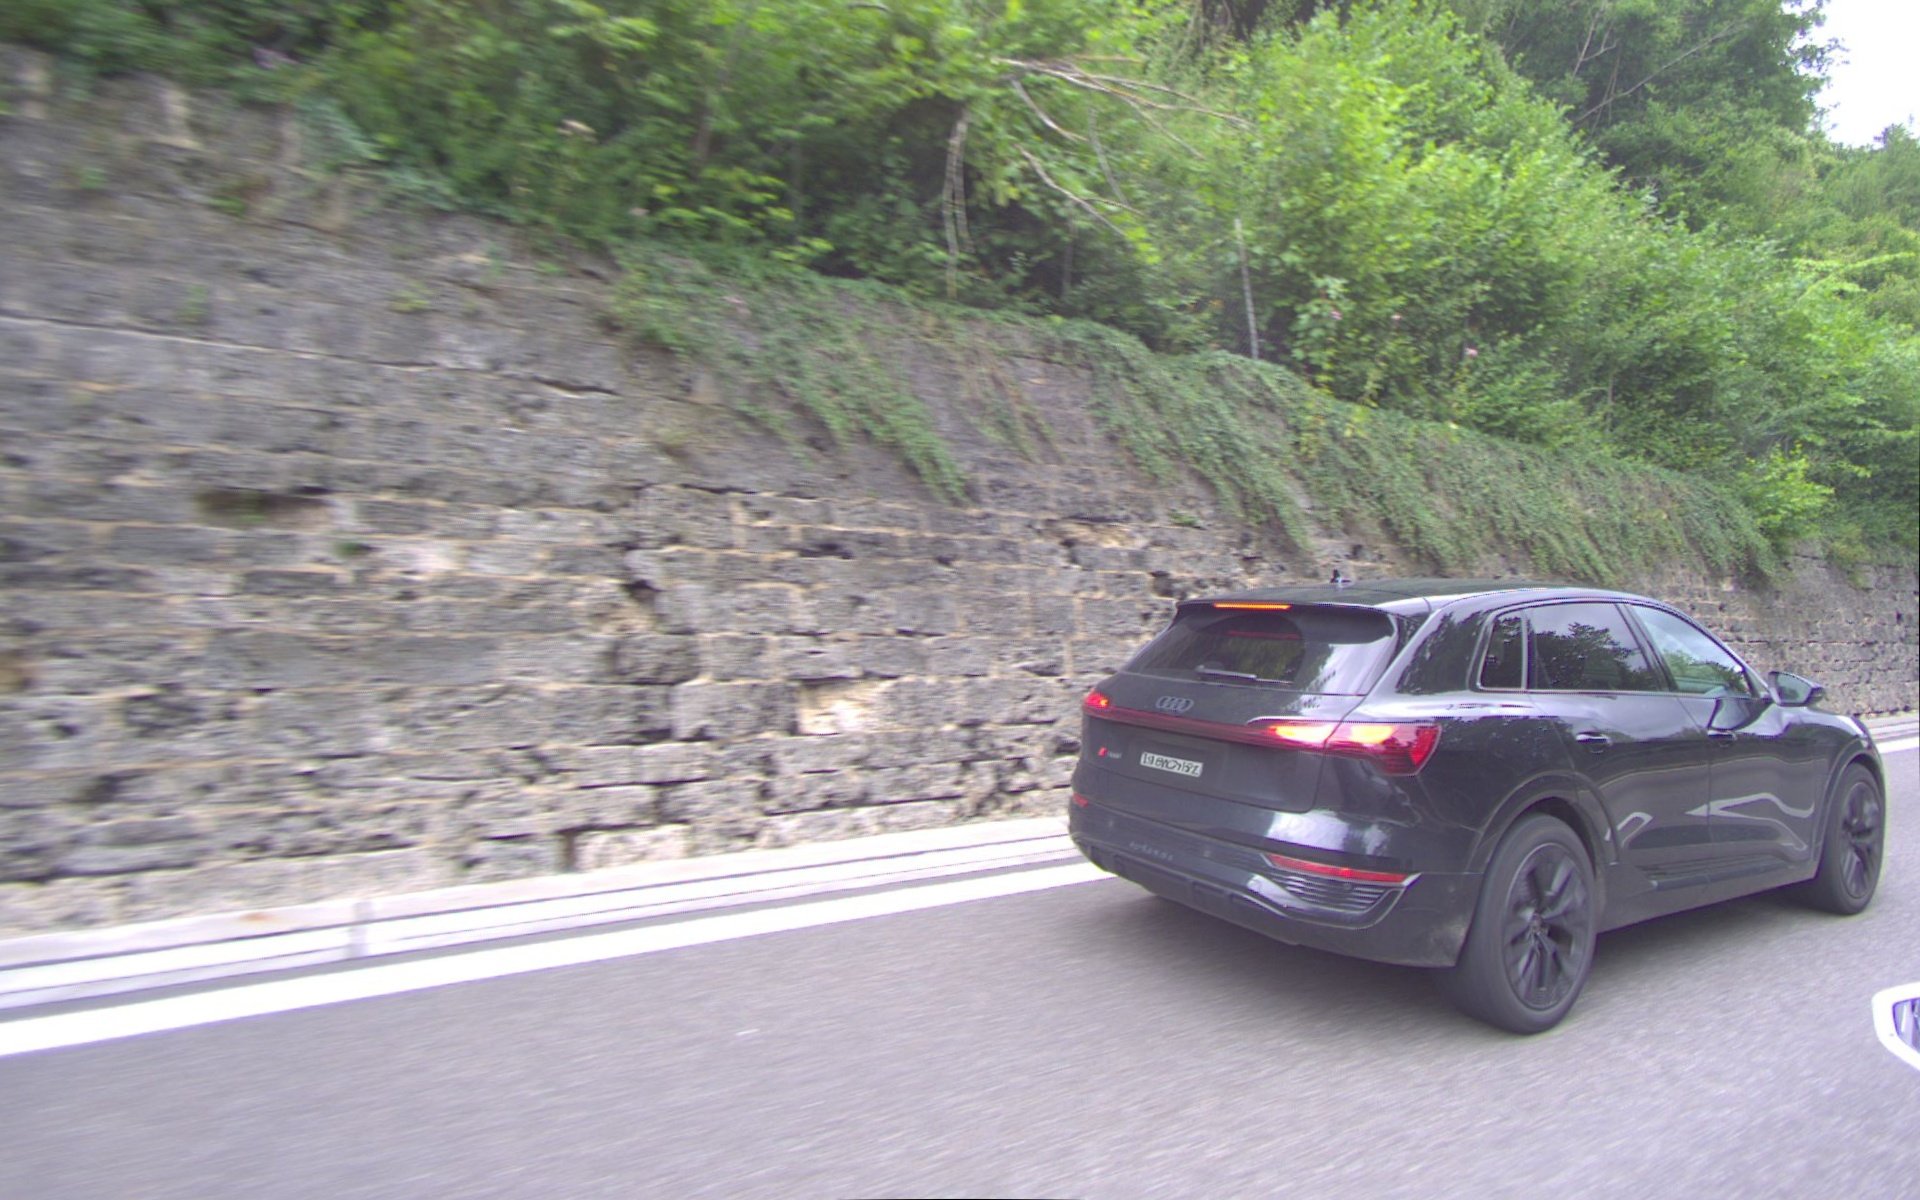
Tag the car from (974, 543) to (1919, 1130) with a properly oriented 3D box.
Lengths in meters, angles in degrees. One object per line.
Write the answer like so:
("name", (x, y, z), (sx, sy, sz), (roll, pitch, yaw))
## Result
("car", (2.681, 0.721, 5.001), (4.952, 1.654, 1.983), (1, -1, -32))
